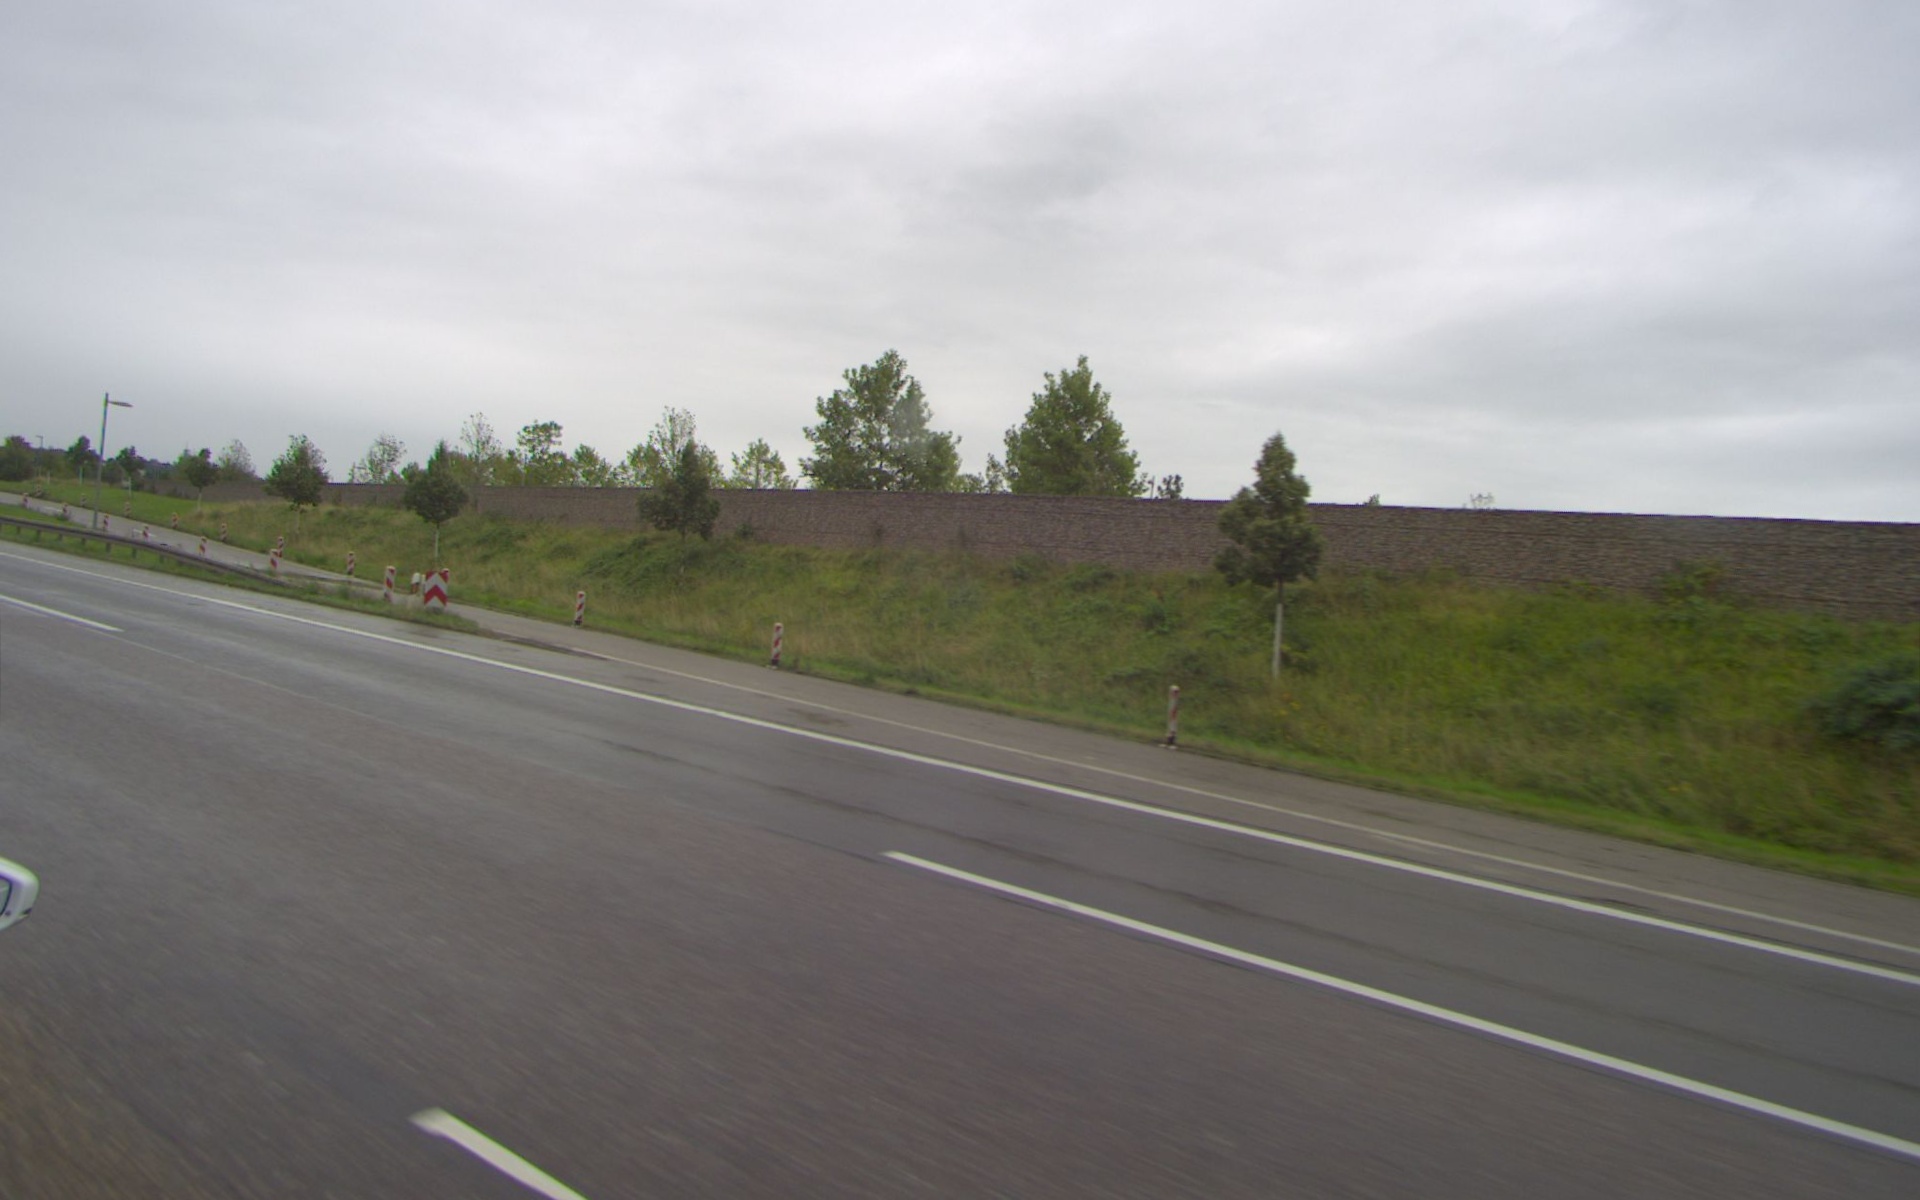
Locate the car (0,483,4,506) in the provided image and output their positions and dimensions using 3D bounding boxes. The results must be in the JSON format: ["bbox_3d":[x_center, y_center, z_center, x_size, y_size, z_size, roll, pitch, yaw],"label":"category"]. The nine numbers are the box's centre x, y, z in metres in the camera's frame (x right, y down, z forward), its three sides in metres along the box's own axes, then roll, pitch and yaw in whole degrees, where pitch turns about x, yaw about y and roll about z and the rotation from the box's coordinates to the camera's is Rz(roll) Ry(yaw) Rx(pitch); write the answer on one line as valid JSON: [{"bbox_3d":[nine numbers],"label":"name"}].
[{"bbox_3d":[-75.022,-8.286,77.027,3.939,1.731,1.921,7,1,37],"label":"car"}]
